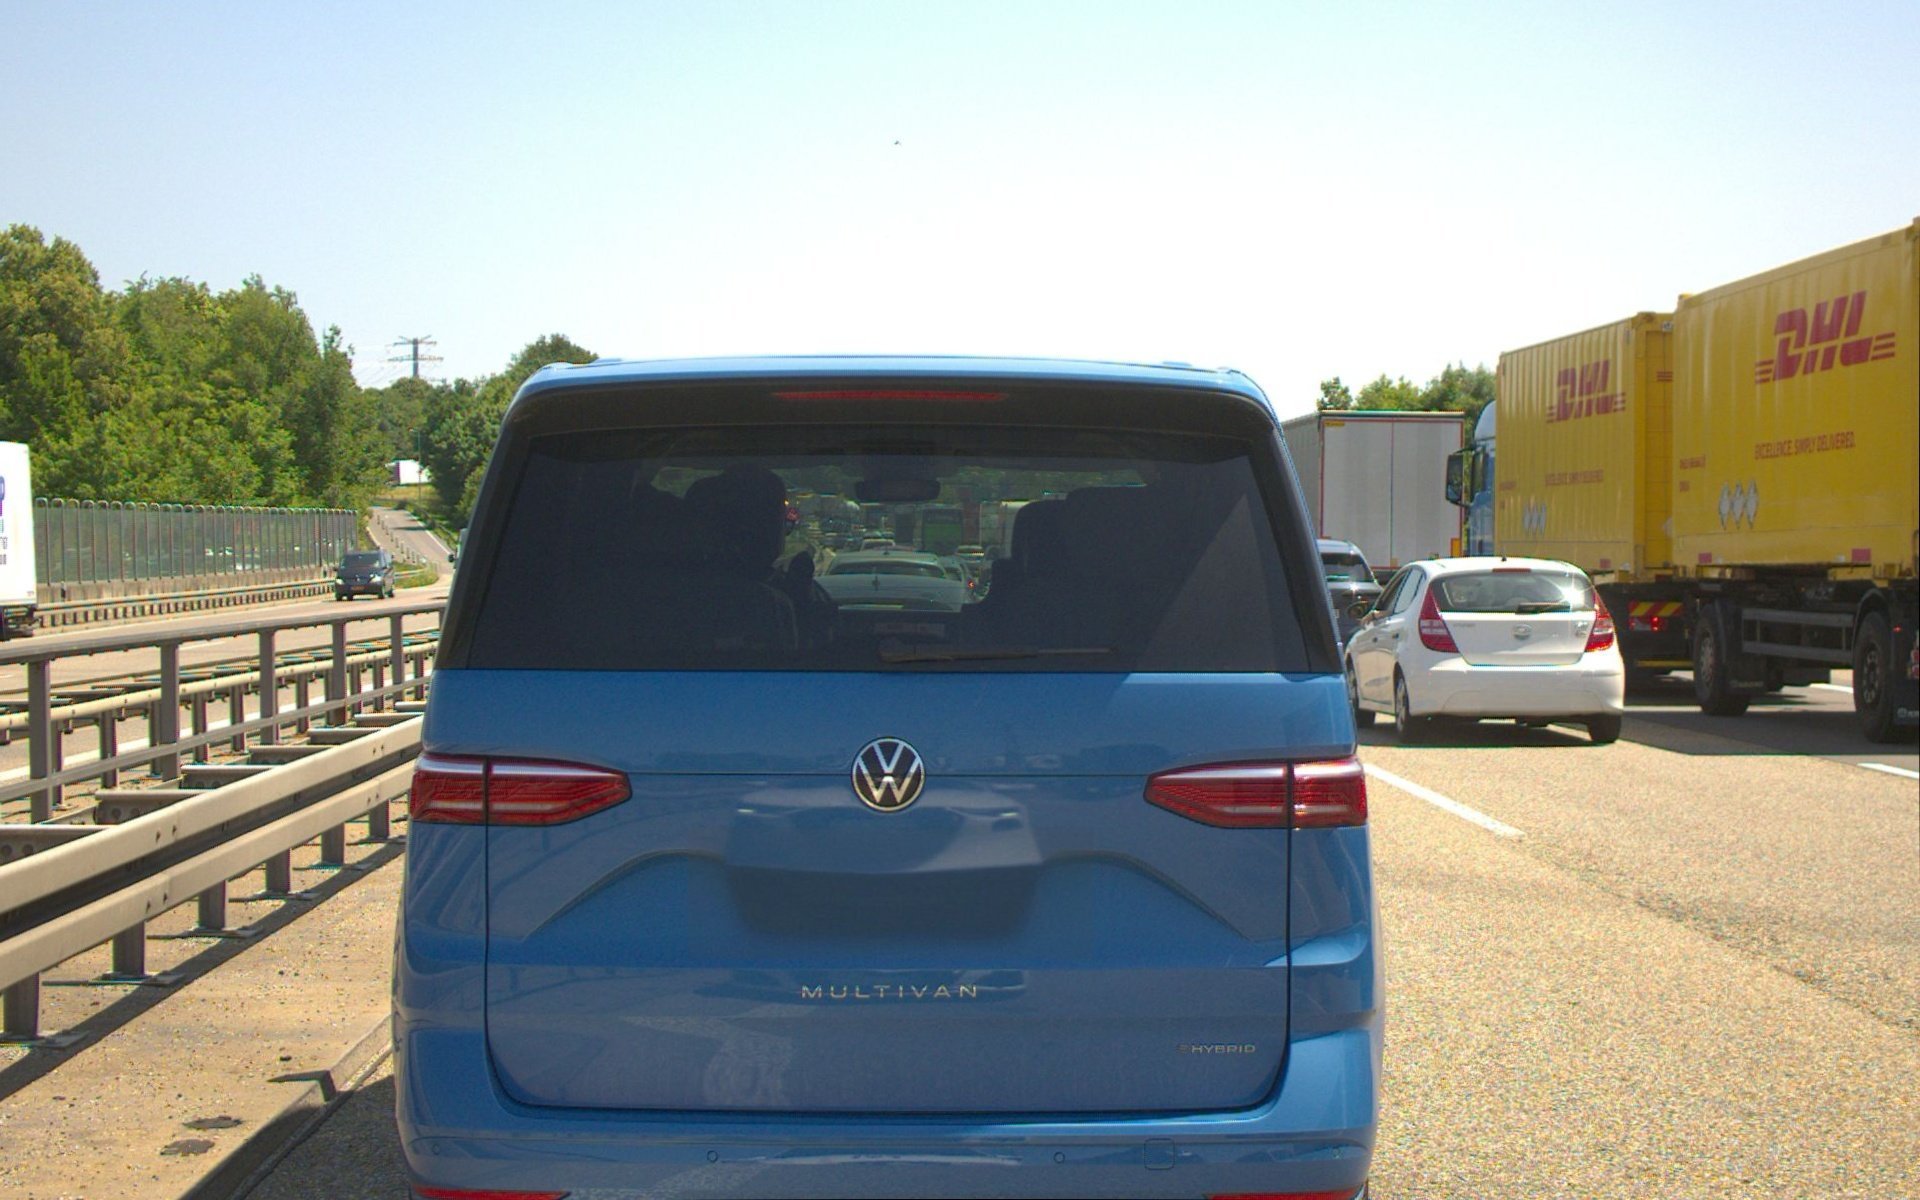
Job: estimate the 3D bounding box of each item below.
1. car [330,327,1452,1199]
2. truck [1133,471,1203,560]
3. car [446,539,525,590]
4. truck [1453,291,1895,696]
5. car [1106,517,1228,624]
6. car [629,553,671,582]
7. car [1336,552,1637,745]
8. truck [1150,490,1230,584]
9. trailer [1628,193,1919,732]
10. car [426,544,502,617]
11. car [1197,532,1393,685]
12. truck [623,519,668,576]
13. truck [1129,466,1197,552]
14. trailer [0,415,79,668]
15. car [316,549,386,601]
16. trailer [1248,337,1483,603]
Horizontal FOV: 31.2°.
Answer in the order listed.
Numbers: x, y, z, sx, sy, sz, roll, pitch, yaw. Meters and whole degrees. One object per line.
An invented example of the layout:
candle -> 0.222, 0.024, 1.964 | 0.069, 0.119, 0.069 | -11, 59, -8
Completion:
car -> -0.153, 0.460, 7.990 | 1.930, 1.867, 4.000 | 1, 0, -1
truck -> 6.159, -2.480, 101.988 | 1.742, 2.540, 4.210 | 1, 0, -1
car -> -14.405, -1.093, 104.580 | 1.772, 1.486, 4.605 | -1, 1, 0
truck -> 7.973, -1.114, 39.926 | 2.699, 4.074, 9.941 | 1, 0, -2
car -> 3.853, -0.557, 64.667 | 1.962, 1.929, 3.932 | 1, 0, -1
car -> -17.848, -1.874, 197.951 | 1.993, 1.539, 4.386 | -2, 1, 0
car -> 4.287, 0.361, 28.574 | 1.815, 1.465, 3.932 | 1, 0, -1
truck -> 6.198, -1.680, 93.094 | 1.798, 2.441, 4.504 | 1, 0, -1
trailer -> 8.337, -1.051, 30.505 | 2.682, 4.074, 8.981 | 1, 0, -2
car -> -18.458, -0.739, 128.178 | 1.993, 2.573, 6.651 | -2, 0, -2
car -> 3.859, 0.076, 40.155 | 1.815, 1.673, 3.932 | 1, 0, -1
truck -> -23.703, -3.915, 259.094 | 2.672, 4.171, 6.287 | -1, 0, 1
truck -> 6.324, -2.820, 107.428 | 1.797, 2.587, 4.306 | 1, 0, -1
trailer -> -17.713, -0.945, 56.512 | 2.906, 4.292, 13.661 | -2, 0, 0
car -> -23.832, -0.983, 134.645 | 1.957, 1.899, 4.951 | -2, 0, -2
trailer -> 7.537, -2.304, 65.455 | 3.026, 4.595, 10.925 | 1, 0, -1
